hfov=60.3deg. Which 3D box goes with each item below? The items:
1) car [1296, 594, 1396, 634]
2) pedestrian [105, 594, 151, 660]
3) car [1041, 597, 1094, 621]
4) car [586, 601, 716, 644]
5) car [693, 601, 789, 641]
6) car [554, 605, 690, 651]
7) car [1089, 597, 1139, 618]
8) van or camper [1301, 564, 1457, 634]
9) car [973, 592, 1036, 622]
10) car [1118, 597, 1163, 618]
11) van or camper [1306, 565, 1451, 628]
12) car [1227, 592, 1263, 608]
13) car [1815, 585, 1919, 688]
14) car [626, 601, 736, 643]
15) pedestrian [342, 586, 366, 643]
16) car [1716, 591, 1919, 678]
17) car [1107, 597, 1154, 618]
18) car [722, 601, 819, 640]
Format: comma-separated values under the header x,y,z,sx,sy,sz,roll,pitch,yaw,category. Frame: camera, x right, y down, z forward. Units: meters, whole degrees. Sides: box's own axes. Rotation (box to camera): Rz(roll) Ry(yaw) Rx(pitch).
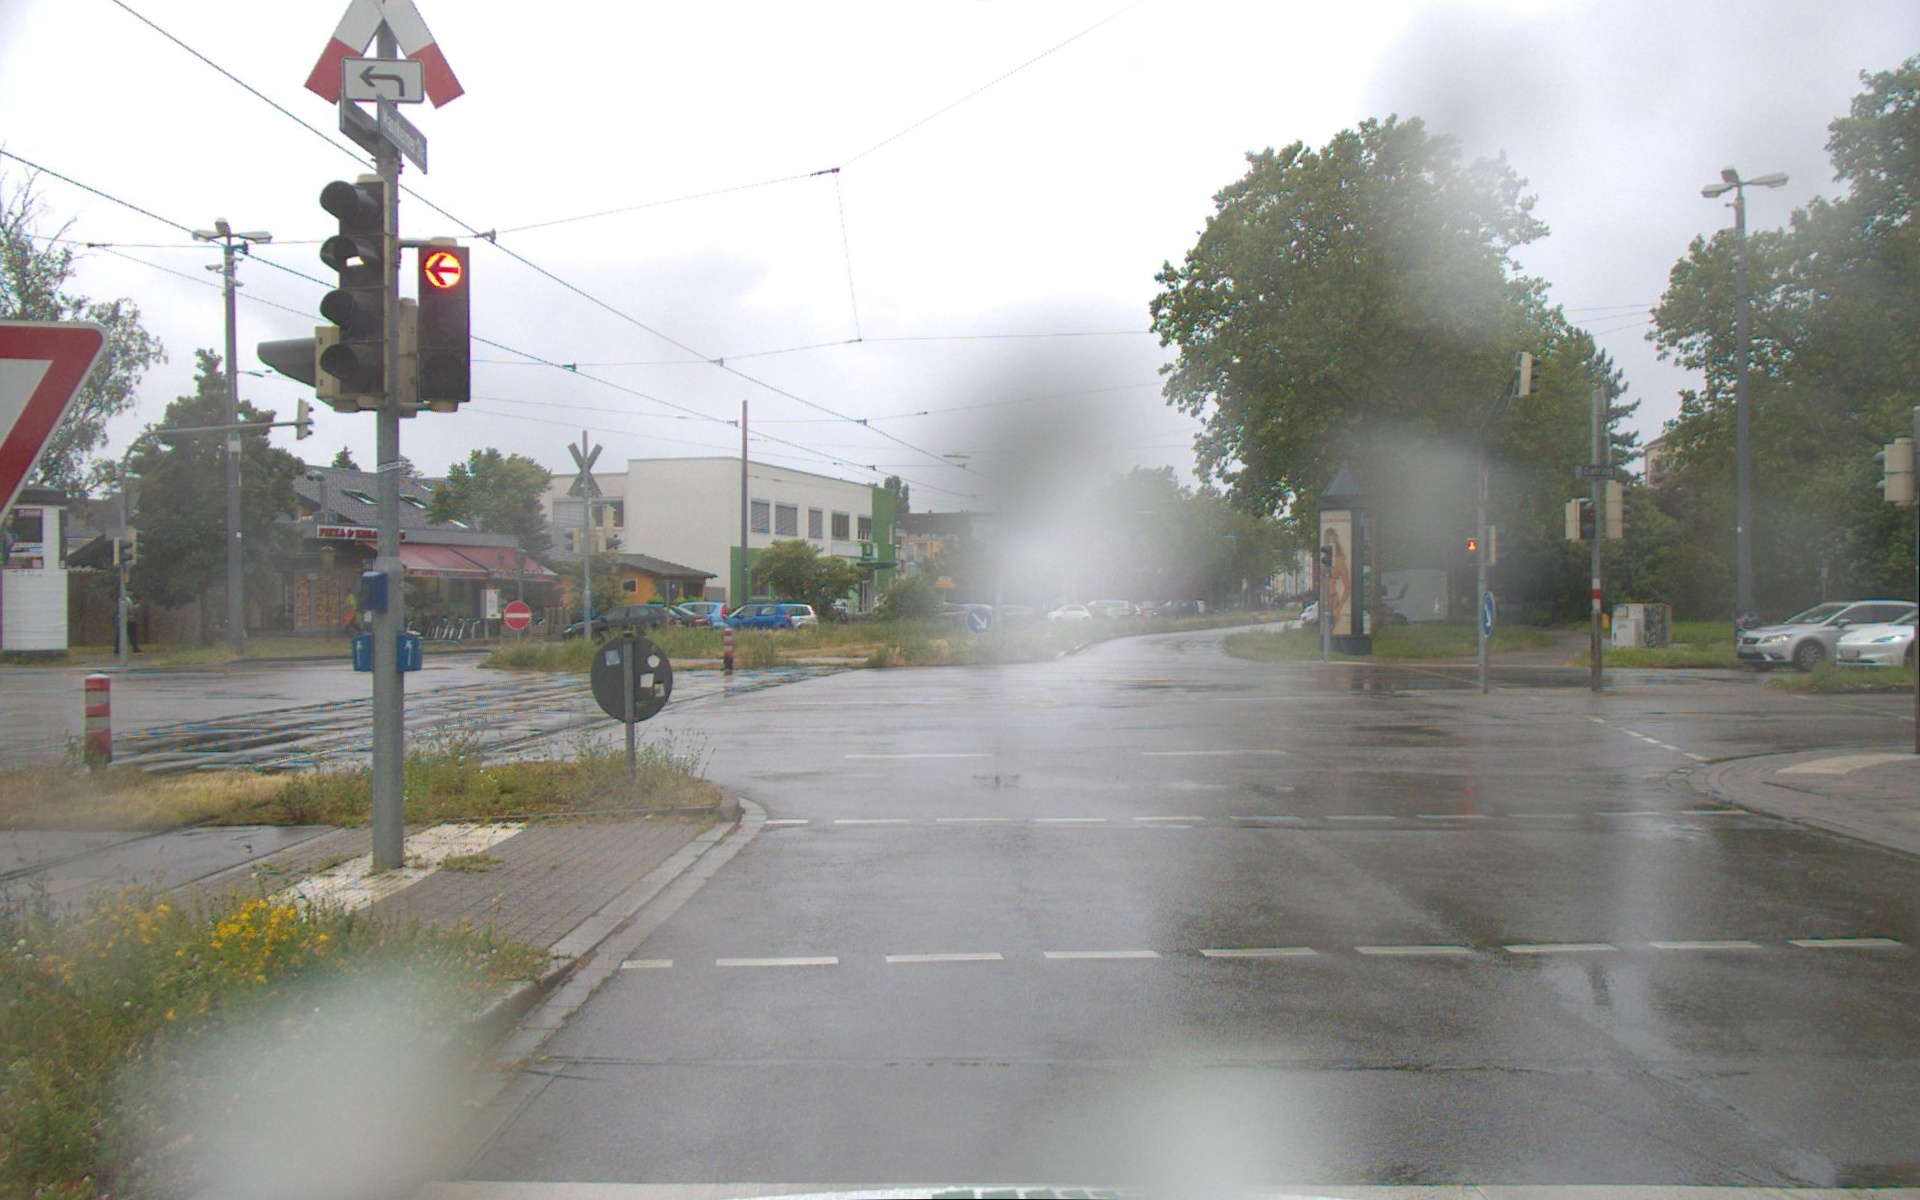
x,y,z,sx,sy,sz,roll,pitch,yaw,category
18.196,0.653,77.860,4.352,1.747,2.000,1,0,21,car
-23.292,0.744,46.327,0.709,1.829,0.887,2,0,14,pedestrian
8.267,0.678,126.885,3.706,1.732,1.832,1,0,-11,car
-11.384,0.818,61.058,4.405,1.443,1.858,-2,0,0,car
-9.224,0.869,69.542,3.916,1.609,1.924,0,0,-12,car
-11.976,0.987,58.792,4.385,1.443,1.858,-2,0,0,car
13.524,0.641,145.081,3.916,1.789,2.004,1,0,-12,car
20.515,-0.049,80.873,7.168,3.234,3.264,1,0,17,van or camper
2.945,0.494,110.309,3.911,1.920,1.997,1,0,-7,car
17.354,0.729,159.171,3.909,1.864,1.998,1,0,-5,car
22.801,-0.193,90.029,7.274,3.234,3.262,1,0,22,van or camper
34.288,-0.042,199.210,3.909,1.864,1.998,1,0,-5,car
18.878,0.699,31.307,4.506,1.860,1.931,1,0,-7,car
-10.883,0.868,64.607,3.903,1.609,1.859,0,0,4,car
-21.759,0.524,59.410,0.712,2.049,0.790,1,-1,-18,pedestrian
18.424,0.726,34.666,4.309,1.721,1.931,1,0,-7,car
15.882,0.682,154.080,3.916,1.864,1.994,1,0,-12,car
-8.357,0.868,72.773,4.040,1.670,1.922,0,0,-15,car
